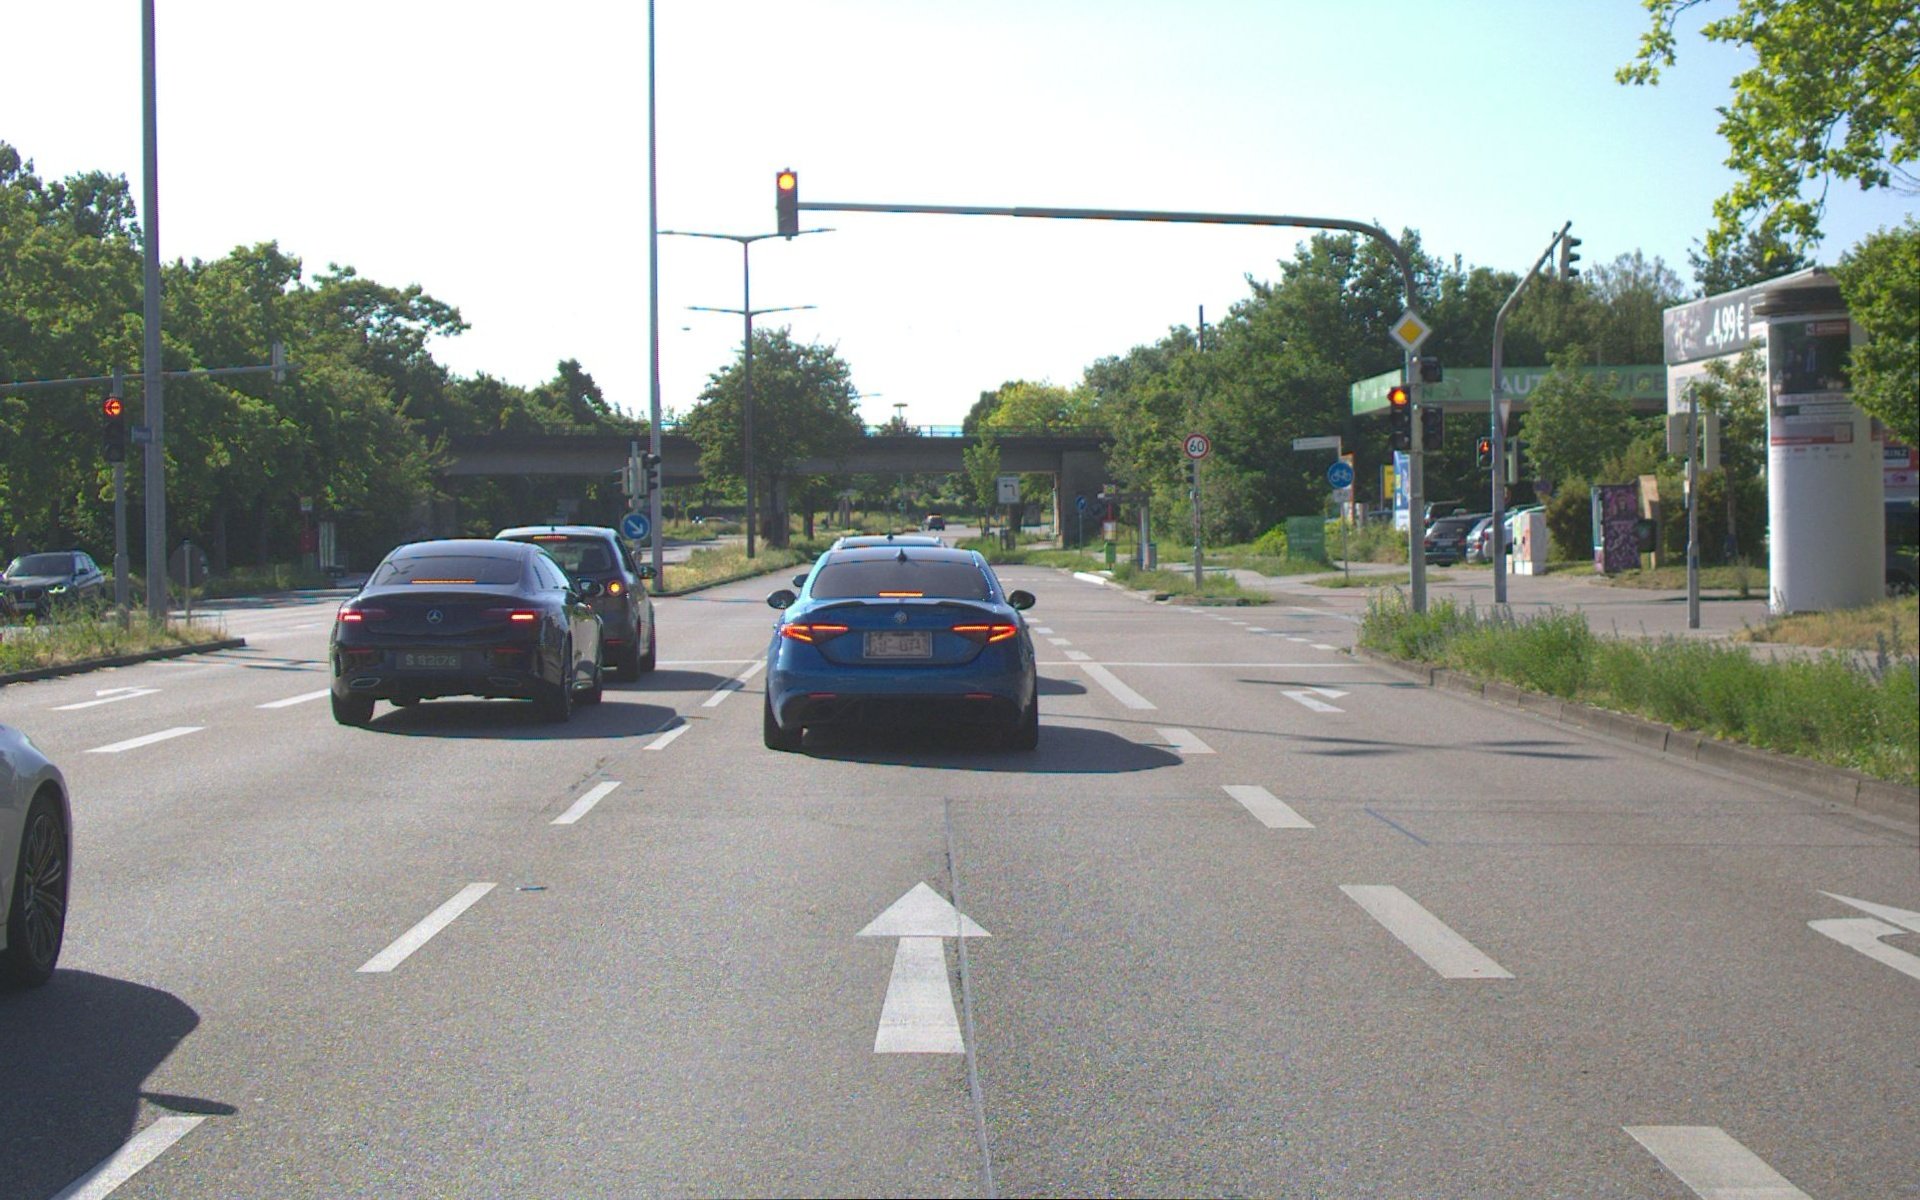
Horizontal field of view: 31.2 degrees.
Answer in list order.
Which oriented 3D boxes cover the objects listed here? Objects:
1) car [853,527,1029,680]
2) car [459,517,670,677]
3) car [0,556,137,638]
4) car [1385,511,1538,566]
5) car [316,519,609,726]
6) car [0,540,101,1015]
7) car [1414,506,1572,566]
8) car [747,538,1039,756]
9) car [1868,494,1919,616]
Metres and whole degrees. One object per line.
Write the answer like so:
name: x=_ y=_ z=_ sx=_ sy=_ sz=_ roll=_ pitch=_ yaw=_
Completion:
car: x=-0.155 y=0.017 z=35.797 sx=1.704 sy=1.492 sz=3.719 roll=1 pitch=1 yaw=1
car: x=-4.069 y=-0.052 z=35.982 sx=1.812 sy=1.546 sz=4.354 roll=1 pitch=1 yaw=-2
car: x=-20.032 y=-0.093 z=76.270 sx=1.803 sy=1.720 sz=4.320 roll=1 pitch=1 yaw=11
car: x=14.853 y=-1.817 z=101.932 sx=3.986 sy=1.547 sz=2.001 roll=1 pitch=0 yaw=-17
car: x=-3.977 y=0.124 z=28.158 sx=1.812 sy=1.546 sz=4.544 roll=0 pitch=1 yaw=-1
car: x=-3.879 y=0.552 z=9.641 sx=1.812 sy=1.481 sz=4.596 roll=1 pitch=1 yaw=-1
car: x=14.422 y=-1.734 z=93.162 sx=3.987 sy=1.547 sz=2.000 roll=1 pitch=0 yaw=1
car: x=-0.402 y=0.292 z=24.651 sx=1.910 sy=1.418 sz=3.719 roll=1 pitch=1 yaw=1
car: x=16.589 y=-0.726 z=53.383 sx=4.582 sy=1.869 sz=1.818 roll=0 pitch=1 yaw=5
